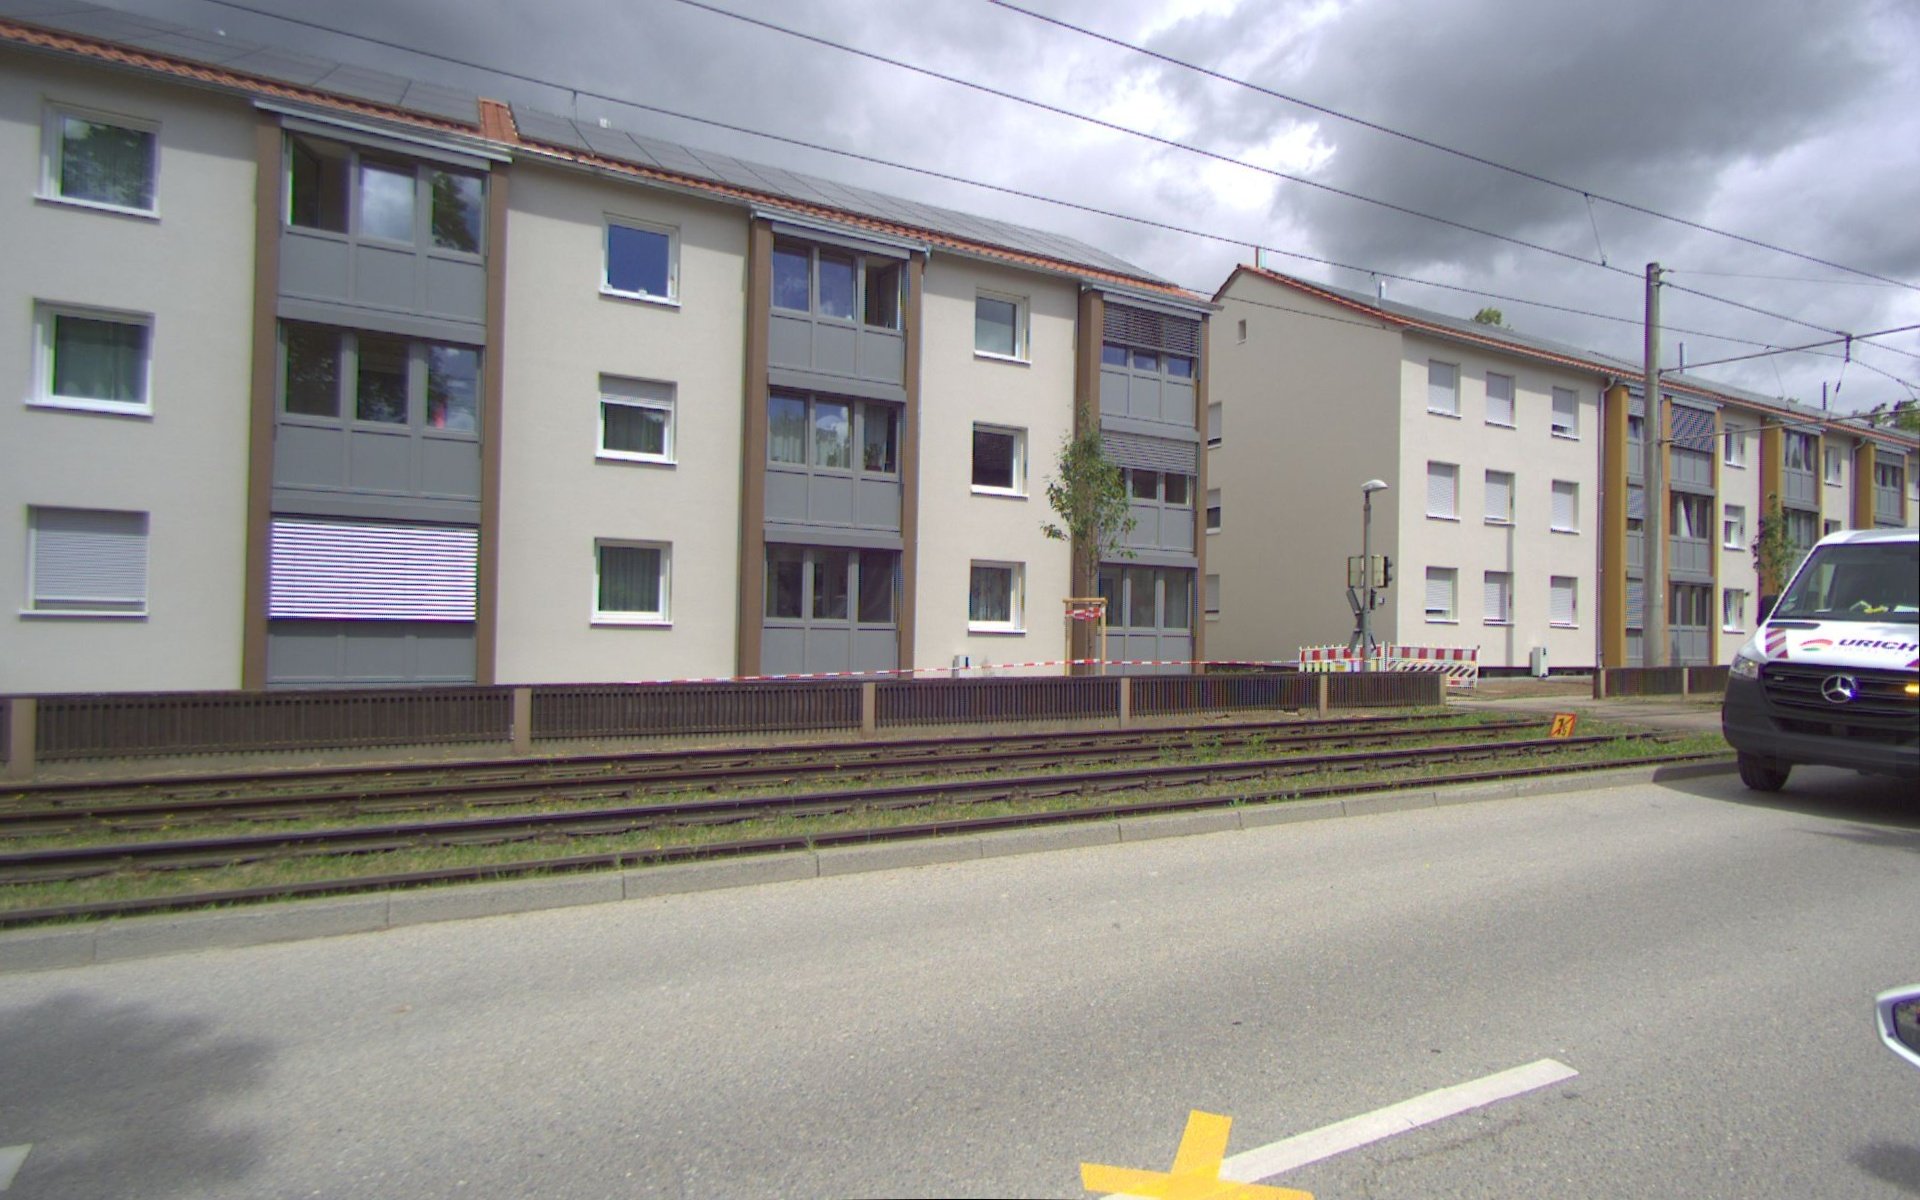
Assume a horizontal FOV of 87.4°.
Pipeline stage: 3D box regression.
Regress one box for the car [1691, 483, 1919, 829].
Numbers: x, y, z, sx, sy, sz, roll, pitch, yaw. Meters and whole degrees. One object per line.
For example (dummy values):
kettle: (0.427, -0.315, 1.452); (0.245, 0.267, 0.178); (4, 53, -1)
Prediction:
car: (9.335, 0.452, 9.080); (6.245, 2.463, 1.985); (1, 0, -29)
